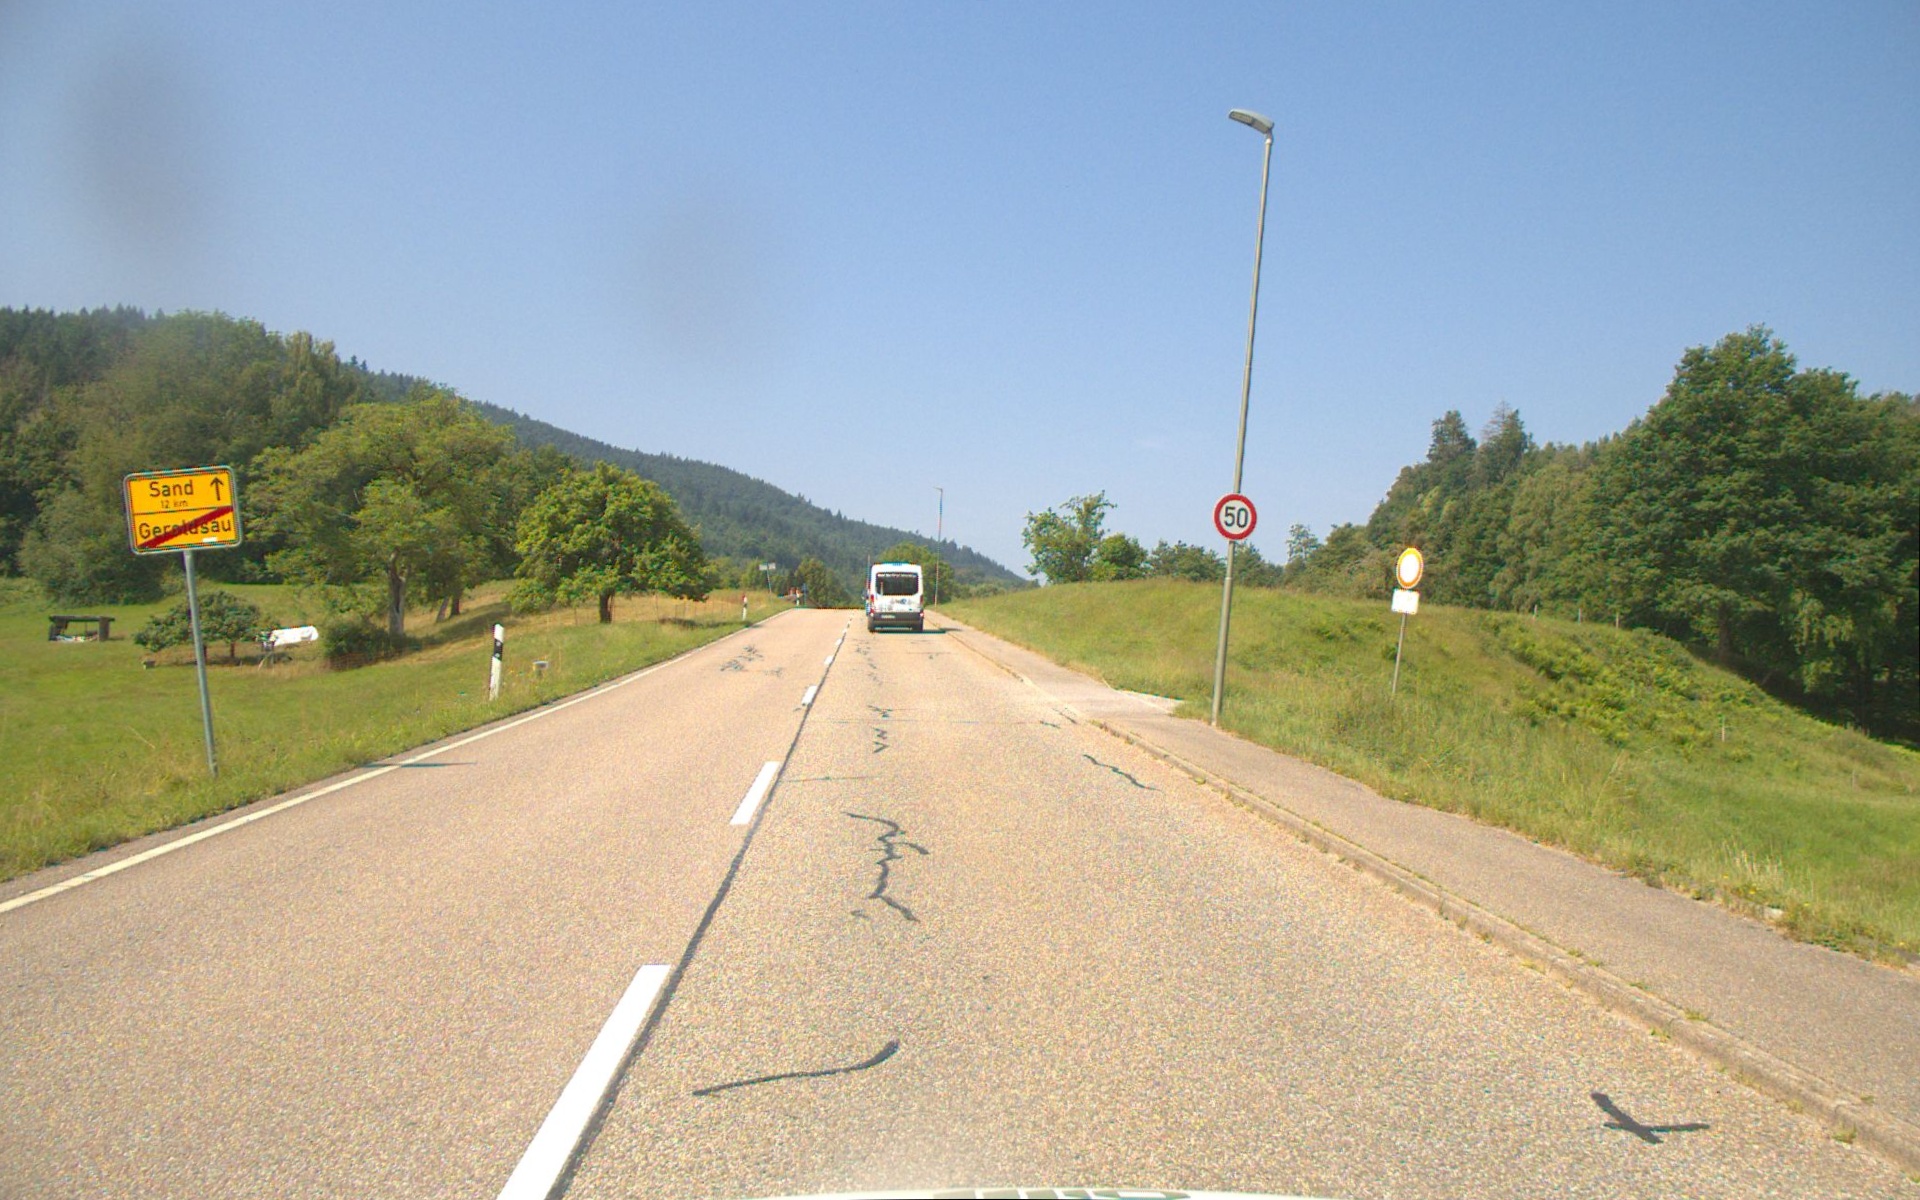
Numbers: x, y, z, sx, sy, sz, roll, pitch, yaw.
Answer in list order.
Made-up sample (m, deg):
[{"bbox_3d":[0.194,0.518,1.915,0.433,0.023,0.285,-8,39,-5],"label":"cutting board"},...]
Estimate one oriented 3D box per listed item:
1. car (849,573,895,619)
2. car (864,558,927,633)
[{"bbox_3d":[-4.785,-0.184,89.210,2.180,2.327,4.977,-1,-2,-6],"label":"car"},{"bbox_3d":[-2.449,-0.121,61.662,2.178,2.570,4.980,-1,-2,-3],"label":"car"}]
